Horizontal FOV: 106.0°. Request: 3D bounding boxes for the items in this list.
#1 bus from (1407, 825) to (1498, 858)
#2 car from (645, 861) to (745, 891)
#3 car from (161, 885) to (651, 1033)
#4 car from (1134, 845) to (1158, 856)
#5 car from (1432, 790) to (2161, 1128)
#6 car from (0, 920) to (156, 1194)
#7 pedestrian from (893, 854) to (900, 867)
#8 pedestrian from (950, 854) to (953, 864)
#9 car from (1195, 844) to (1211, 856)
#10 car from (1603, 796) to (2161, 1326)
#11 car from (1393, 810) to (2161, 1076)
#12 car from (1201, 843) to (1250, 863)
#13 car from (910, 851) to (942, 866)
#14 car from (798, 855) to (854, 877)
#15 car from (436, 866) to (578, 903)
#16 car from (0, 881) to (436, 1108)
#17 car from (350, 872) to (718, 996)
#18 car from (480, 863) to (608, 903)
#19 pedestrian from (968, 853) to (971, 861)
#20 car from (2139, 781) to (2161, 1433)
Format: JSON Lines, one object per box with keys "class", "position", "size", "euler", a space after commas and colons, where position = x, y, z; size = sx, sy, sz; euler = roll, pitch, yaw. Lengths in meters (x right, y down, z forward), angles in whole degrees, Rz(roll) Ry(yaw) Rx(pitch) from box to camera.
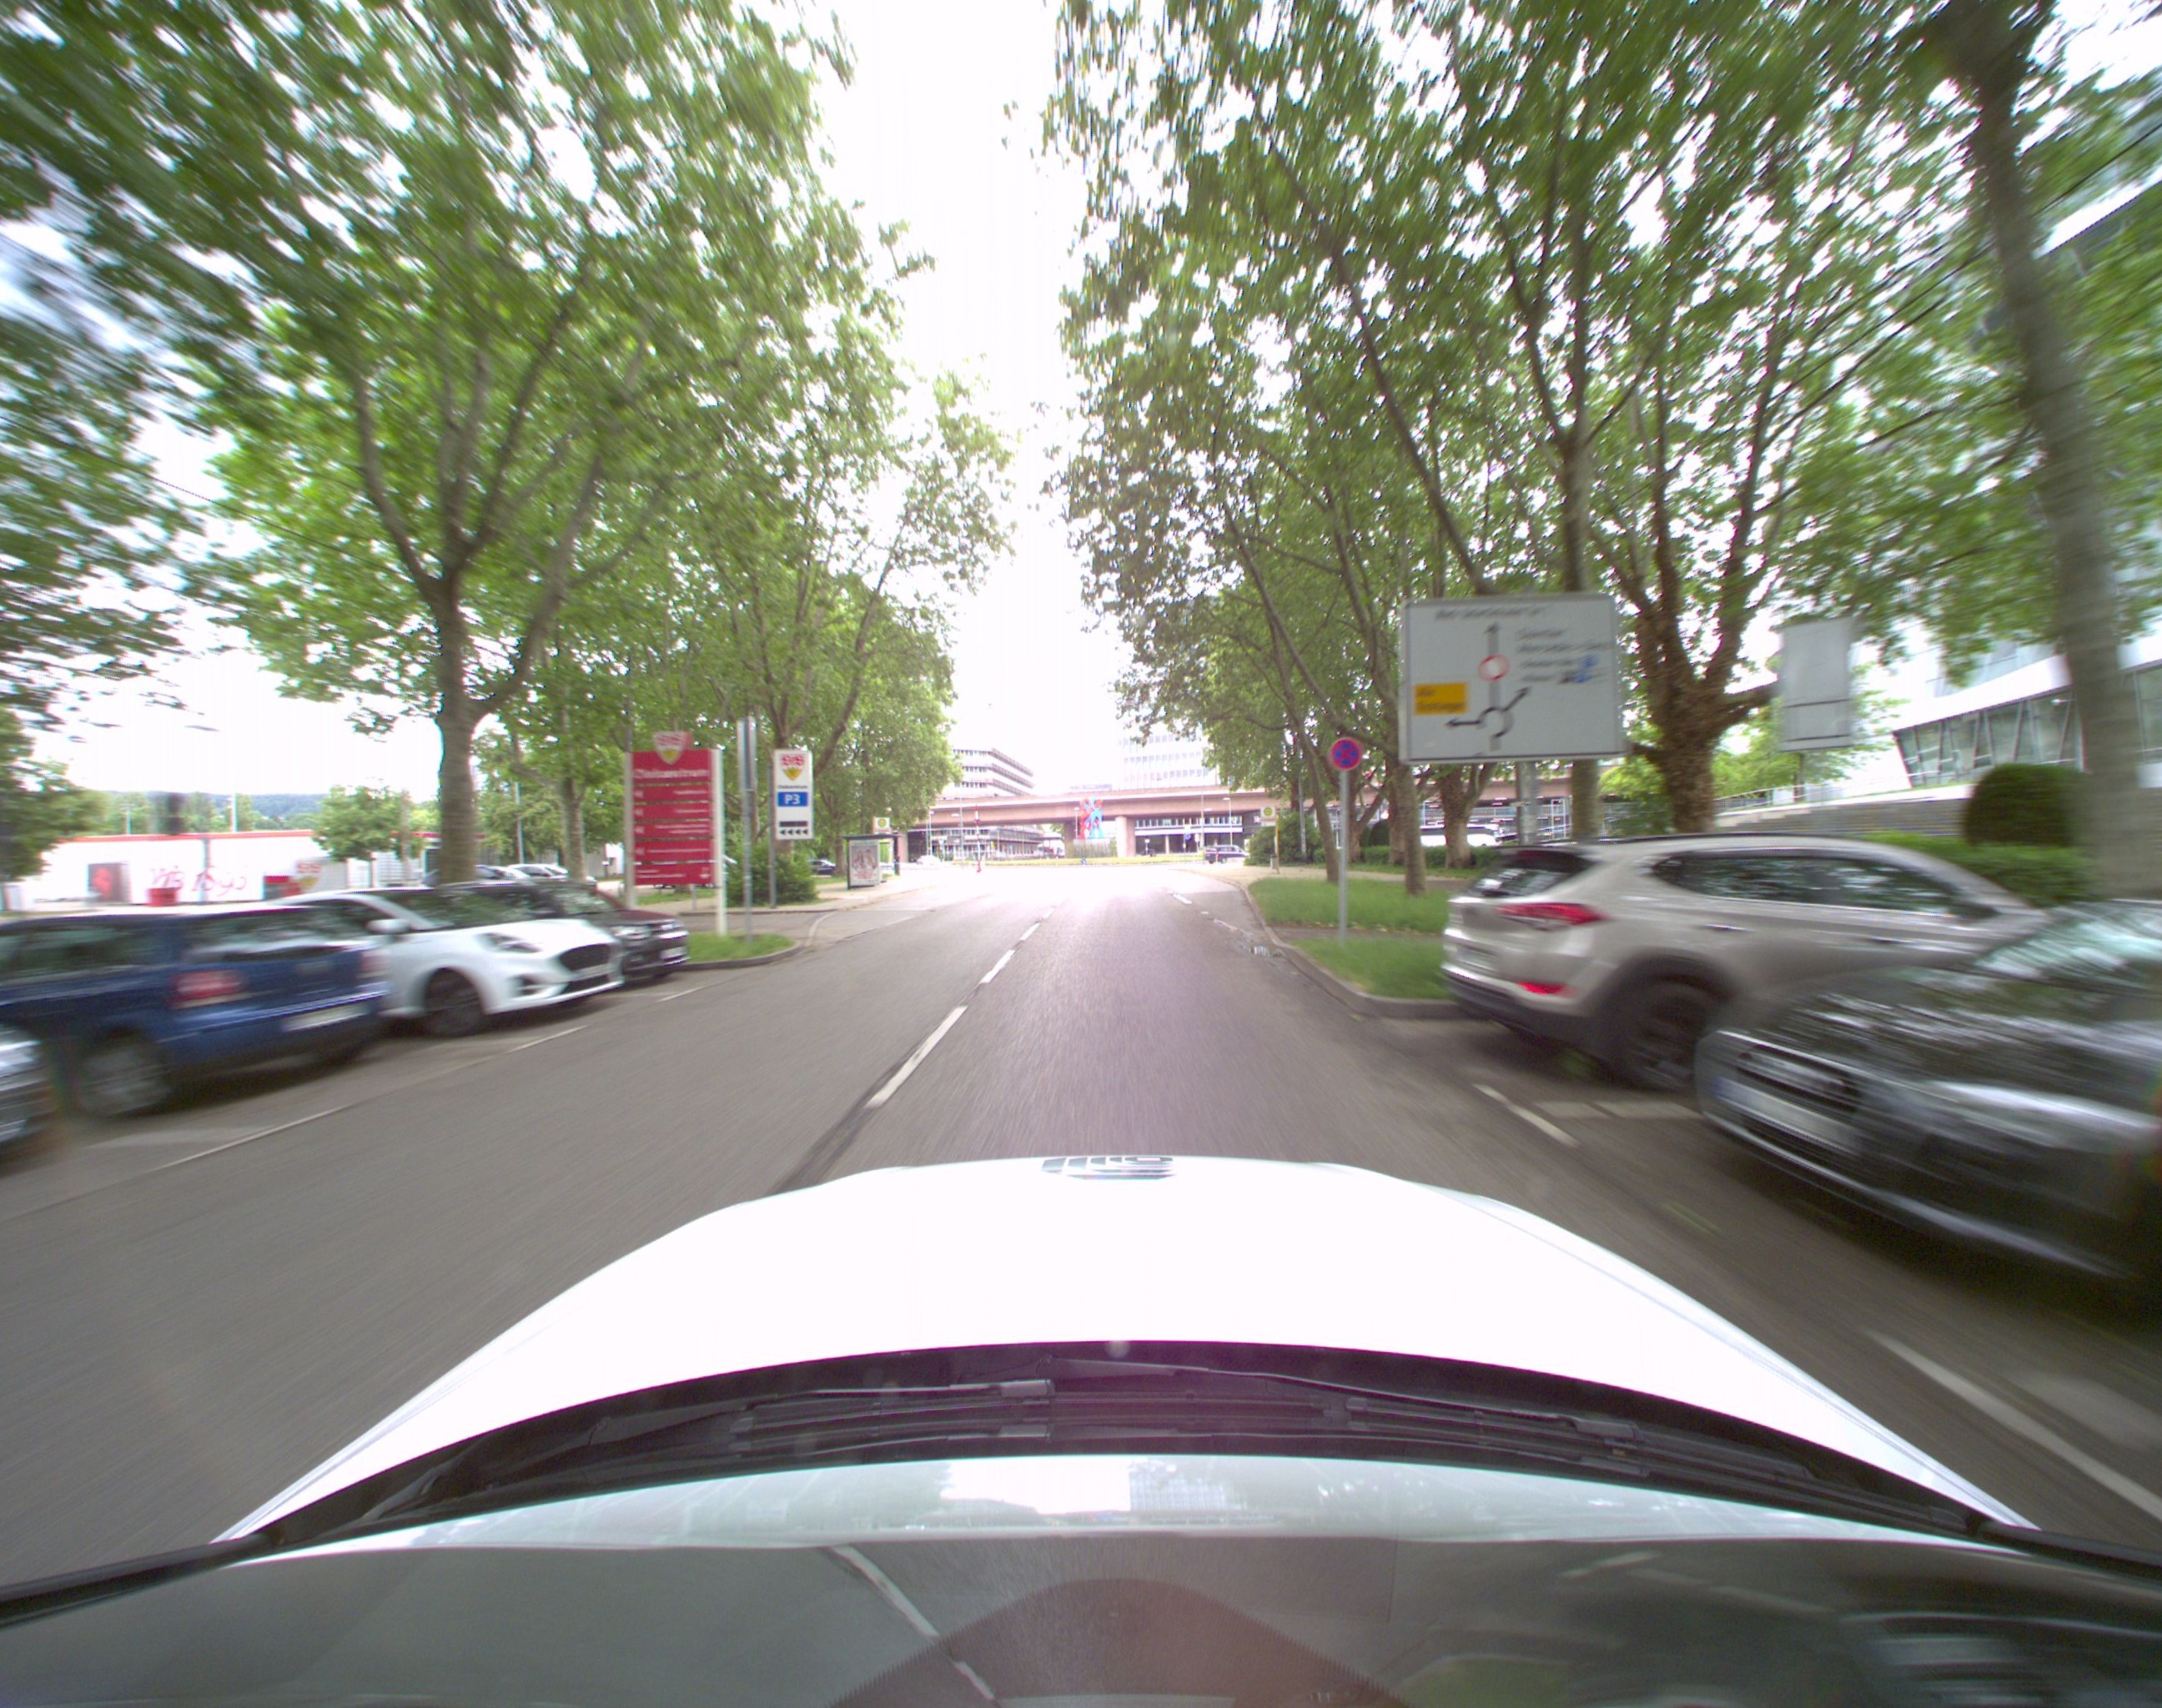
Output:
{"class": "bus", "position": [47.123, -1.606, 103.371], "size": [11.054, 3.934, 2.747], "euler": [-1, -1, -12]}
{"class": "car", "position": [-21.537, 1.236, 45.556], "size": [4.605, 1.568, 2.111], "euler": [-1, -1, 4]}
{"class": "car", "position": [-7.294, 1.102, 9.087], "size": [3.975, 1.385, 1.914], "euler": [-1, 0, 5]}
{"class": "car", "position": [10.500, -0.535, 132.267], "size": [1.974, 1.772, 4.025], "euler": [-1, -1, 38]}
{"class": "car", "position": [4.933, 0.621, 5.884], "size": [3.971, 2.013, 2.001], "euler": [0, 1, 2]}
{"class": "car", "position": [-7.773, 1.141, 4.164], "size": [3.972, 1.405, 1.862], "euler": [-1, 0, 1]}
{"class": "pedestrian", "position": [-29.657, 1.024, 131.019], "size": [1.043, 2.014, 0.597], "euler": [-1, -1, -10]}
{"class": "pedestrian", "position": [-26.718, 1.067, 168.214], "size": [0.588, 2.014, 0.597], "euler": [-1, -1, -10]}
{"class": "car", "position": [21.606, -0.629, 143.839], "size": [1.977, 2.014, 4.019], "euler": [-1, 0, 19]}
{"class": "car", "position": [4.948, 0.608, 3.385], "size": [4.329, 1.605, 1.926], "euler": [0, 1, 2]}
{"class": "car", "position": [4.813, 0.546, 6.010], "size": [4.329, 1.633, 1.926], "euler": [0, 1, 2]}
{"class": "car", "position": [14.880, -0.131, 83.779], "size": [4.807, 2.014, 2.257], "euler": [-1, -1, -39]}
{"class": "car", "position": [-17.101, 0.472, 89.769], "size": [1.914, 1.453, 4.766], "euler": [-3, 0, -31]}
{"class": "car", "position": [-20.866, 0.980, 66.685], "size": [3.983, 1.605, 2.227], "euler": [-2, 0, -7]}
{"class": "car", "position": [-21.873, 1.144, 31.165], "size": [3.973, 1.324, 2.002], "euler": [-1, 0, 1]}
{"class": "car", "position": [-7.929, 1.022, 6.567], "size": [3.979, 1.493, 1.833], "euler": [-1, 0, 1]}
{"class": "car", "position": [-7.546, 1.064, 11.506], "size": [3.977, 1.540, 1.806], "euler": [-1, 0, 3]}
{"class": "car", "position": [-22.294, 1.189, 33.908], "size": [3.972, 1.522, 2.003], "euler": [-1, 0, 2]}
{"class": "pedestrian", "position": [-28.761, 0.823, 210.283], "size": [0.773, 2.013, 0.671], "euler": [-2, 0, 2]}
{"class": "car", "position": [4.828, 0.635, 1.063], "size": [4.329, 1.633, 1.926], "euler": [0, 1, 2]}
